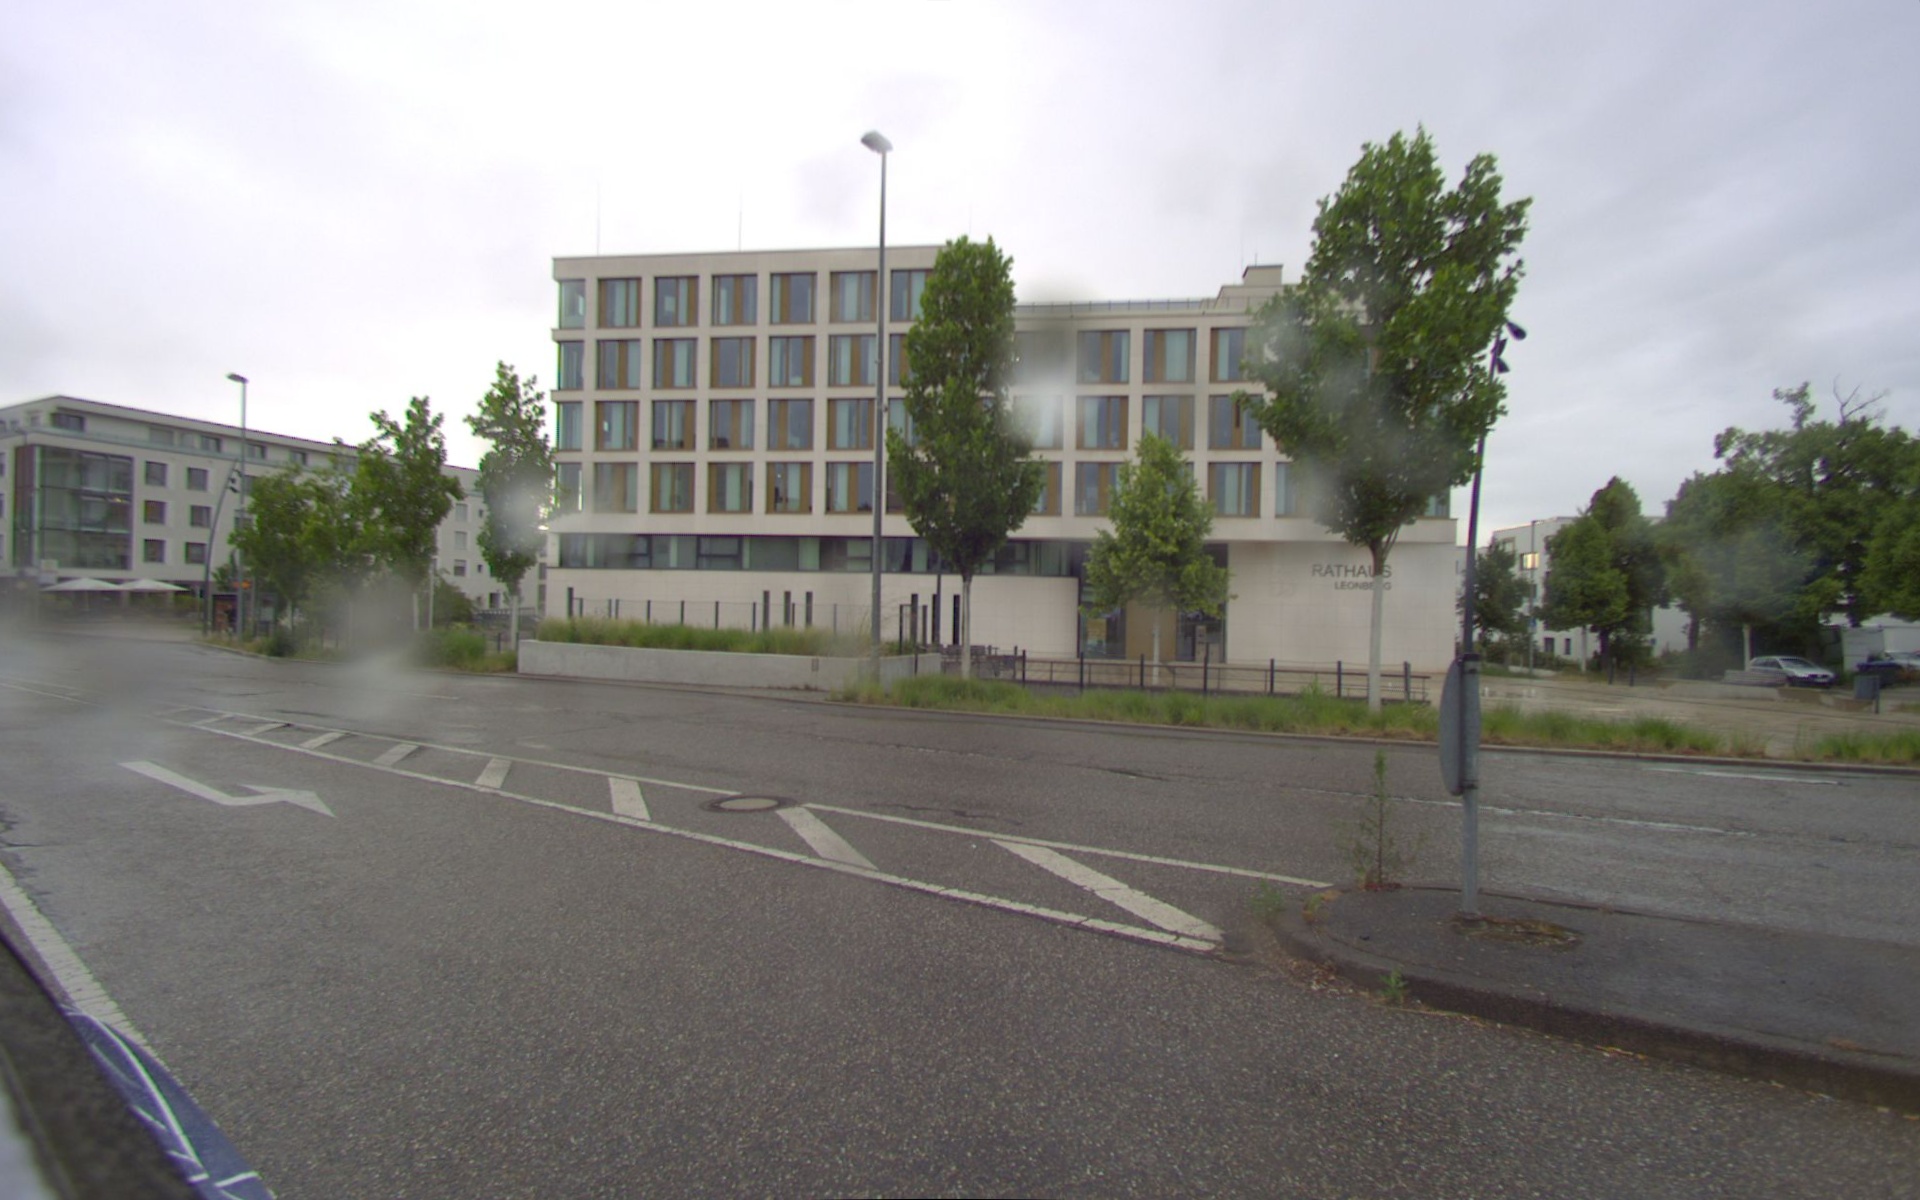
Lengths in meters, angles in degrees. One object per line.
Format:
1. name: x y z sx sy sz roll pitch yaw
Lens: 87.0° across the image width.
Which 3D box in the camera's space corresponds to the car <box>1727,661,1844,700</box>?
1. car: 35.387 3.419 43.510 1.563 1.478 4.002 1 -2 -3
